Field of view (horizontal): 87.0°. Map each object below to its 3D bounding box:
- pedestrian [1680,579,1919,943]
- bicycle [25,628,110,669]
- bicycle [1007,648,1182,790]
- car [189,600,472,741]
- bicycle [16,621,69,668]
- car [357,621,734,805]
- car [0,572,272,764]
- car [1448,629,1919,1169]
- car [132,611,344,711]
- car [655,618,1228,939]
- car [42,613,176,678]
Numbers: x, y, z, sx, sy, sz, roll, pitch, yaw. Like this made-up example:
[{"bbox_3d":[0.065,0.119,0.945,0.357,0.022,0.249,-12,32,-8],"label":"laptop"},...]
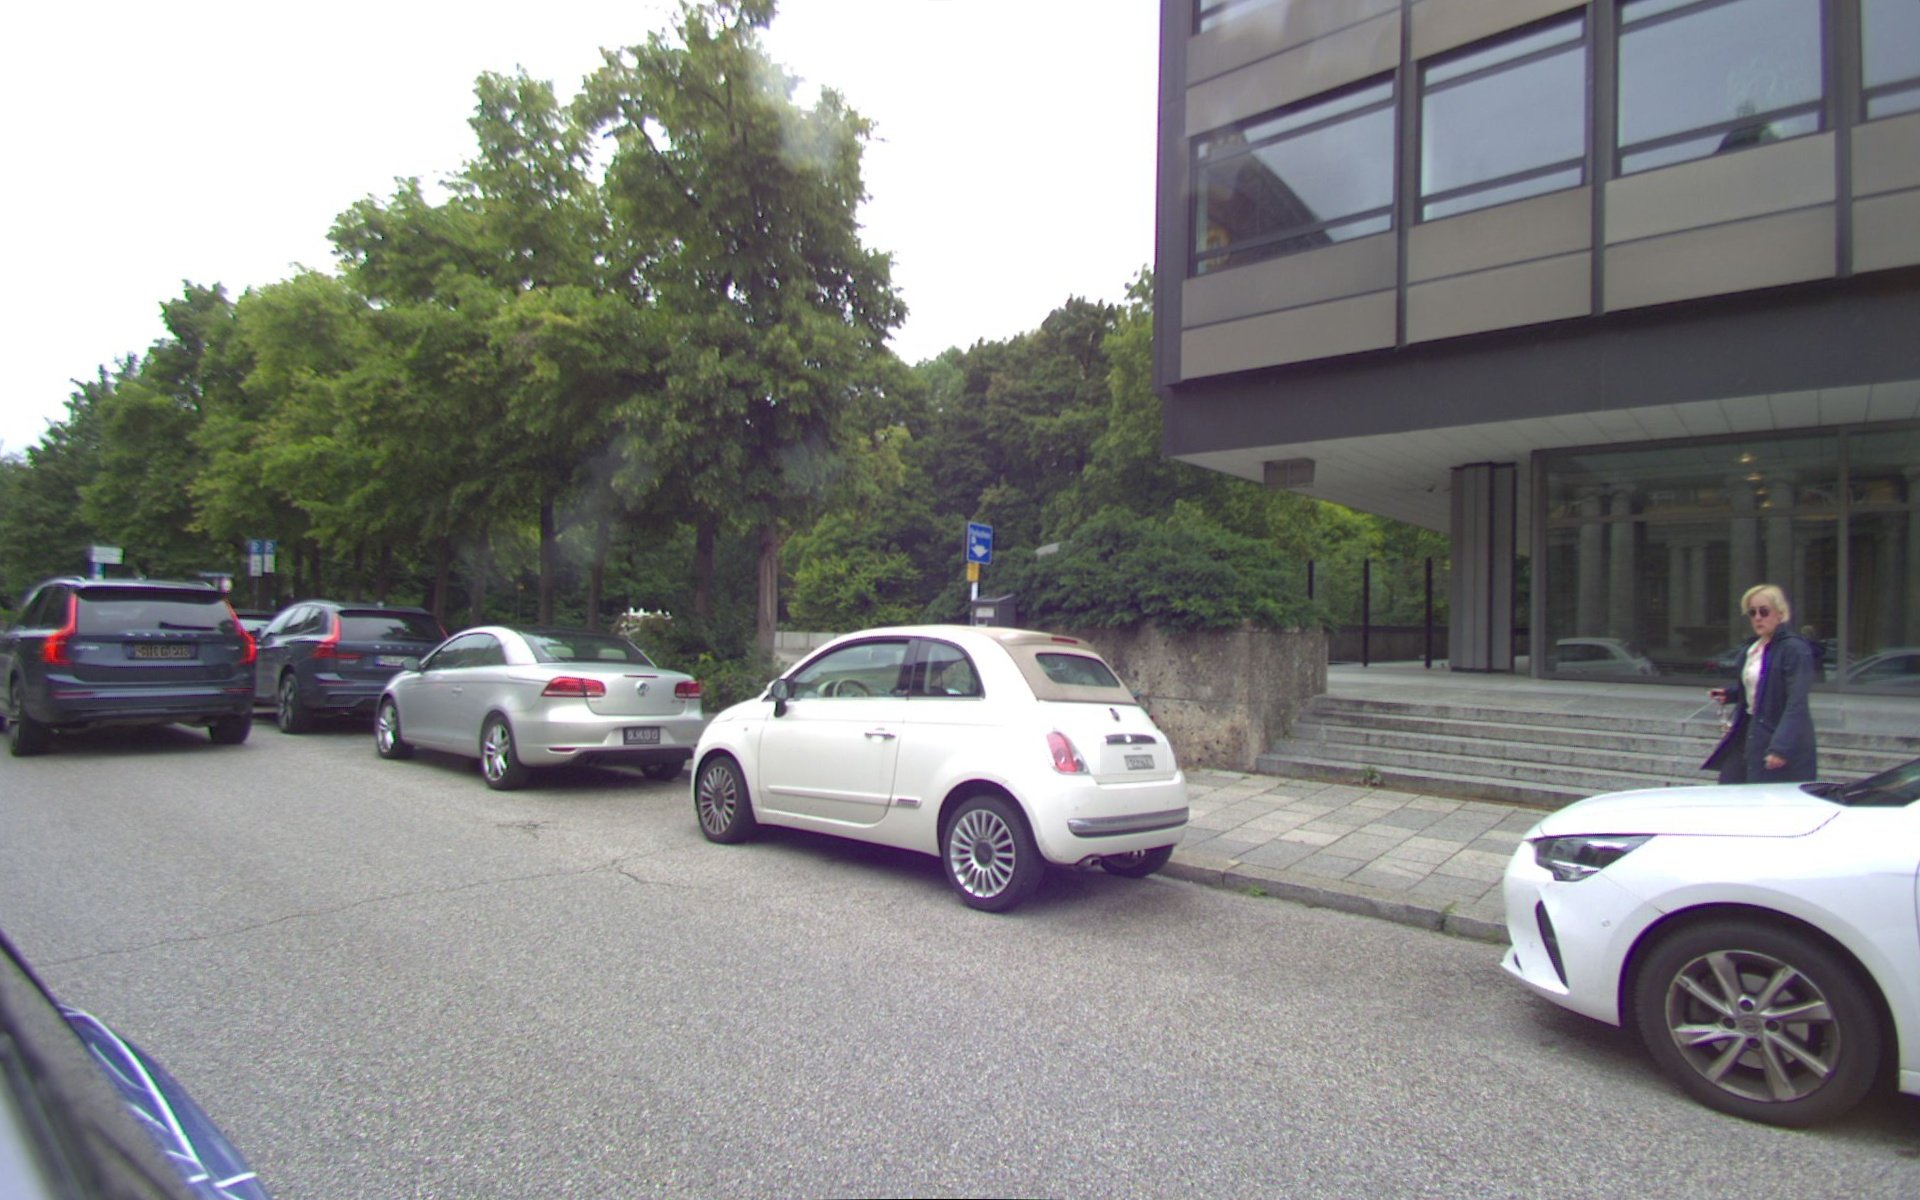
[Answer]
[{"bbox_3d":[4.441,0.777,5.258,0.881,1.765,0.690,0,1,2],"label":"pedestrian"},{"bbox_3d":[-25.186,1.344,28.576,0.597,1.116,1.681,0,-1,33],"label":"bicycle"},{"bbox_3d":[1.249,1.068,9.530,1.526,1.173,0.636,-1,0,40],"label":"bicycle"},{"bbox_3d":[-8.626,0.868,13.703,4.520,1.595,1.973,-1,-4,41],"label":"car"},{"bbox_3d":[-26.557,1.268,29.324,0.566,1.292,1.423,0,-1,-16],"label":"bicycle"},{"bbox_3d":[-4.208,0.977,9.931,4.217,1.411,1.739,-1,-5,43],"label":"car"},{"bbox_3d":[-9.594,0.674,11.342,4.911,1.694,1.939,-1,-4,42],"label":"car"},{"bbox_3d":[3.879,0.881,2.787,4.278,1.451,1.663,0,-5,42],"label":"car"},{"bbox_3d":[-12.392,0.965,17.253,4.646,1.472,1.972,-1,-3,42],"label":"car"},{"bbox_3d":[-0.277,0.898,6.493,3.551,1.482,1.527,-1,-4,41],"label":"car"},{"bbox_3d":[-21.340,1.103,25.320,4.363,1.472,1.972,-1,-3,42],"label":"car"}]
